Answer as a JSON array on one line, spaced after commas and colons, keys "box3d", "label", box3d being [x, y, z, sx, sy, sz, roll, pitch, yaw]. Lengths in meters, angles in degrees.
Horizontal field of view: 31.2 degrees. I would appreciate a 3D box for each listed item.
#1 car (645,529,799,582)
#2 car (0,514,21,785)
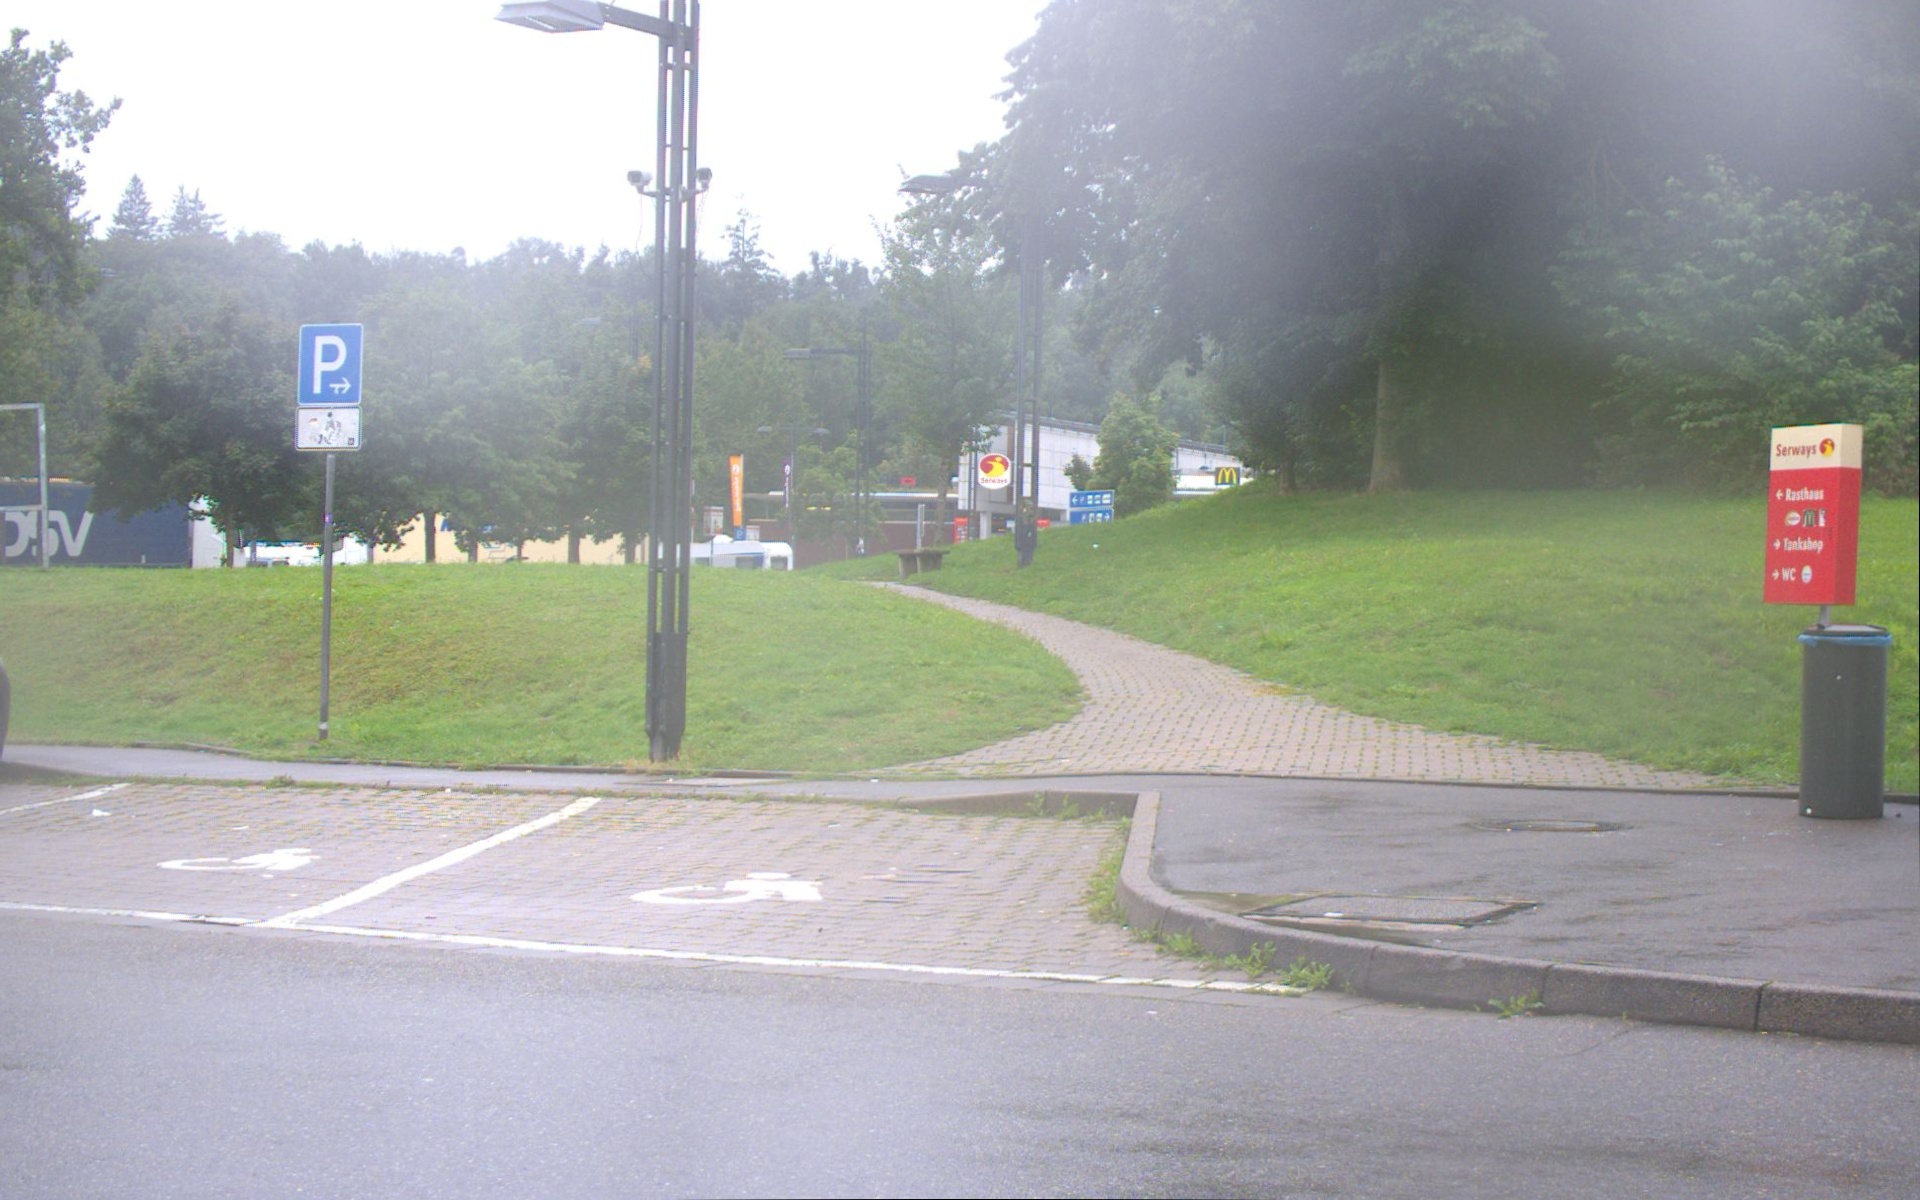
[{"box3d": [-9.248, -1.743, 133.801, 5.429, 2.007, 2.453, 1, 1, 20], "label": "car"}, {"box3d": [-7.766, 0.371, 21.473, 1.885, 1.821, 4.411, 0, 1, 11], "label": "car"}]
